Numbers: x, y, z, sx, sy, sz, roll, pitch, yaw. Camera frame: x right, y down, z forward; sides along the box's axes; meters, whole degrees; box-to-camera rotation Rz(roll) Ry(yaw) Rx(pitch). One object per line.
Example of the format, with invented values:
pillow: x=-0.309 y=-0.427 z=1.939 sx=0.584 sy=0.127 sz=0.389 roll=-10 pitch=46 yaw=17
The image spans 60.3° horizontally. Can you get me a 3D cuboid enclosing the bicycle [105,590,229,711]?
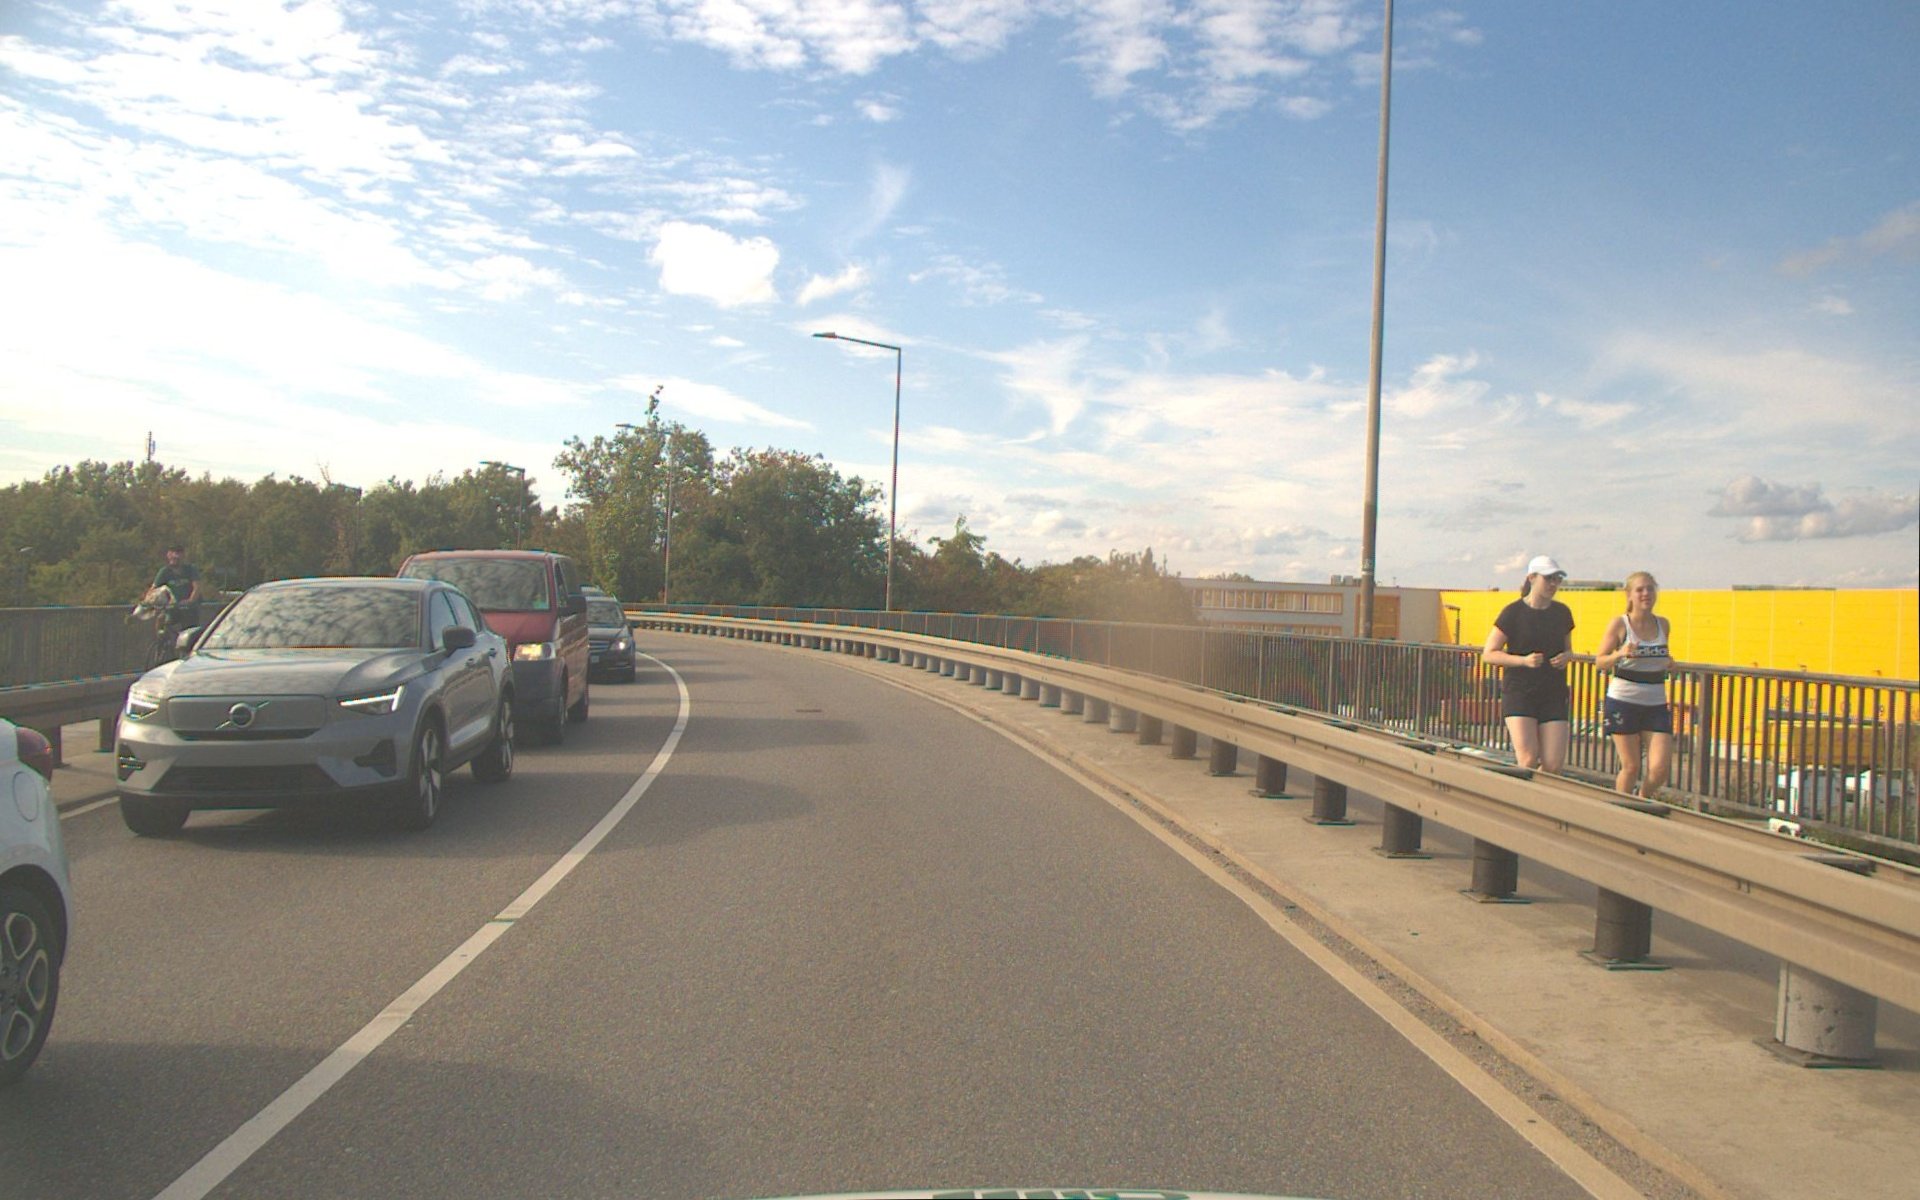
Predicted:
bicycle: x=-9.335 y=0.567 z=19.537 sx=0.750 sy=1.355 sz=1.913 roll=0 pitch=0 yaw=-7

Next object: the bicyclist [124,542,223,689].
bicyclist: x=-9.343 y=0.180 z=19.689 sx=0.752 sy=1.690 sz=1.118 roll=0 pitch=0 yaw=-8

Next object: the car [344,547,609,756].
car: x=-5.031 y=0.463 z=17.908 sx=1.969 sy=1.936 sz=4.860 roll=0 pitch=0 yaw=-7

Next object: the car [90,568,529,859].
car: x=-4.267 y=0.632 z=11.608 sx=1.718 sy=1.637 sz=4.309 roll=0 pitch=0 yaw=-5

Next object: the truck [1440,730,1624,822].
truck: x=28.735 y=8.781 z=83.184 sx=8.429 sy=4.162 sz=2.662 roll=0 pitch=1 yaw=-8

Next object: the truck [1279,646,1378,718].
truck: x=27.832 y=6.126 z=125.628 sx=3.562 sy=4.940 sz=11.253 roll=0 pitch=0 yaw=-9

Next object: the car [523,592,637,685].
car: x=-6.689 y=0.615 z=29.275 sx=1.801 sy=1.491 sz=4.503 roll=0 pitch=0 yaw=-12

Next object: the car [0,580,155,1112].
car: x=-3.593 y=0.715 z=3.636 sx=1.705 sy=1.527 sz=4.076 roll=0 pitch=0 yaw=-1

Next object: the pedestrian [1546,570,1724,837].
pedestrian: x=4.146 y=0.609 z=10.222 sx=0.663 sy=1.570 sz=0.960 roll=0 pitch=0 yaw=-4

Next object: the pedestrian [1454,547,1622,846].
pedestrian: x=3.409 y=0.548 z=9.811 sx=0.663 sy=1.690 sz=0.865 roll=0 pitch=0 yaw=-3
